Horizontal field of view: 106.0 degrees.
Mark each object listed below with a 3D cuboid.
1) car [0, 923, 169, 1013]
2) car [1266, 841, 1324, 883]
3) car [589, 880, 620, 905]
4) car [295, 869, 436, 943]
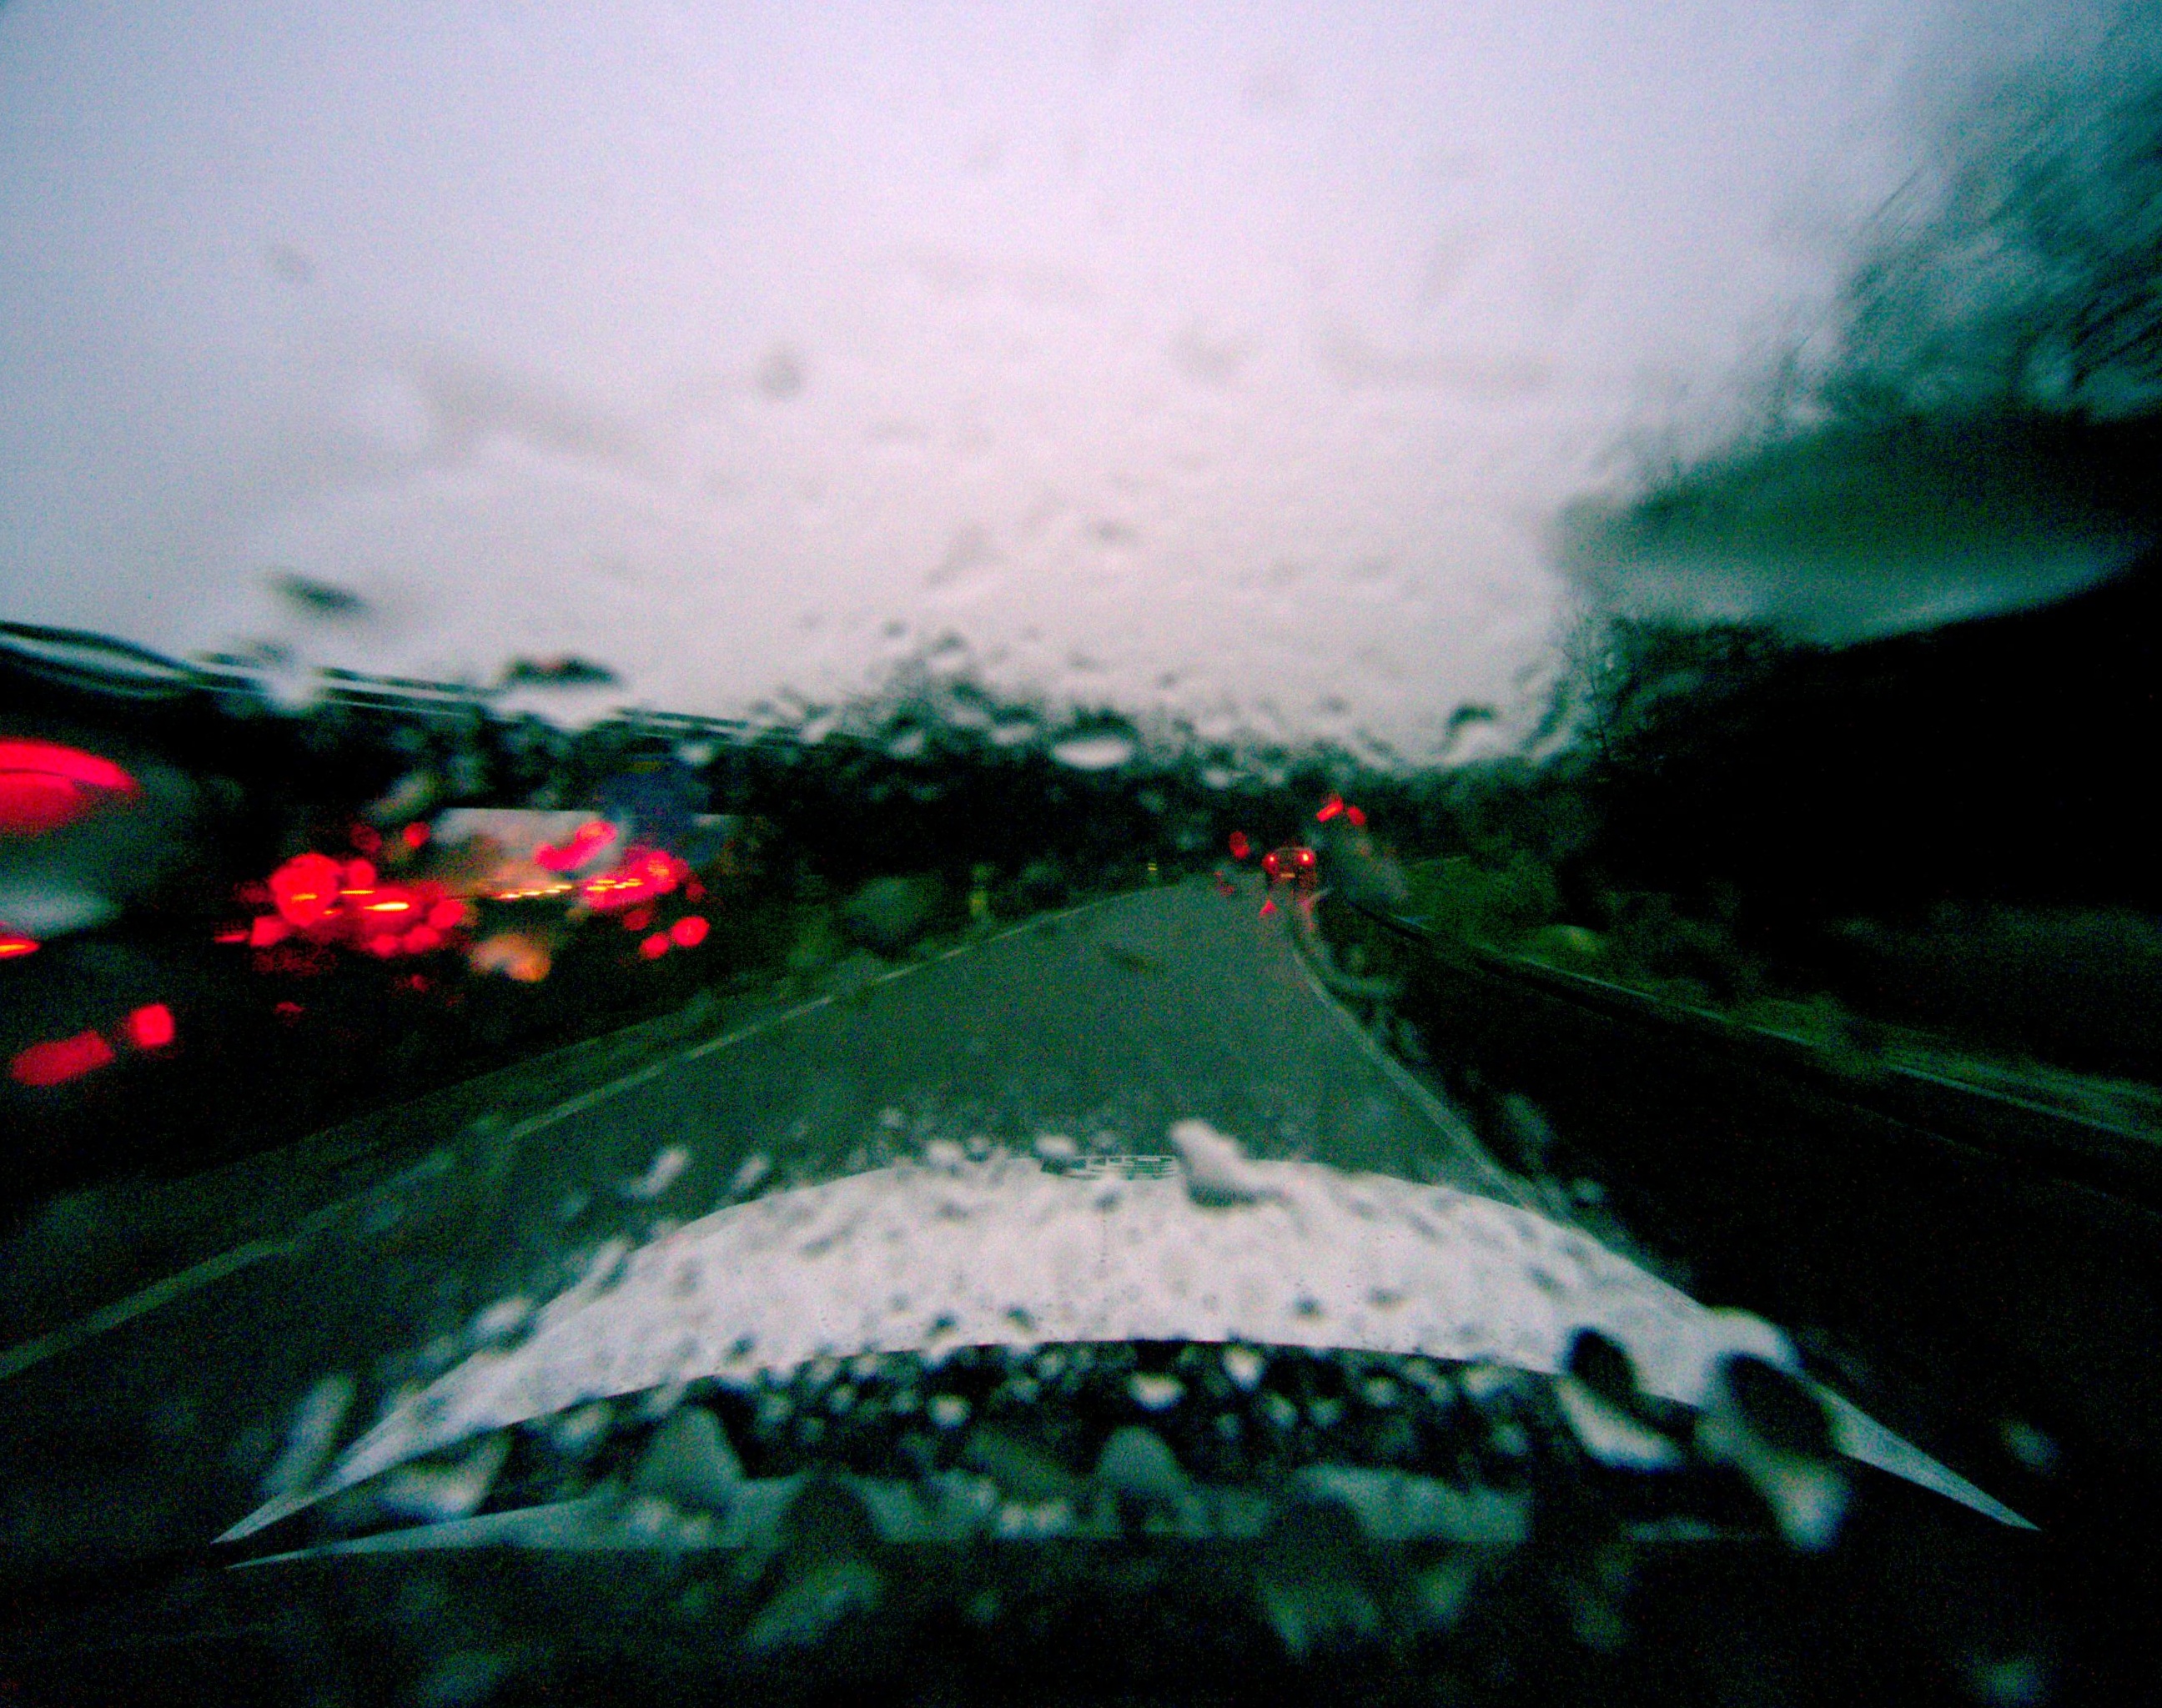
[{"bbox_3d":[-21.419,2.318,17.106,1.810,1.468,4.369,0,-2,-31],"label":"car"},{"bbox_3d":[7.948,0.335,30.040,1.717,1.429,3.783,0,-2,20],"label":"car"},{"bbox_3d":[-36.127,2.871,61.743,1.891,1.617,3.836,-3,2,-31],"label":"car"},{"bbox_3d":[-19.414,1.356,22.315,2.006,1.664,3.962,-5,1,-30],"label":"car"}]
